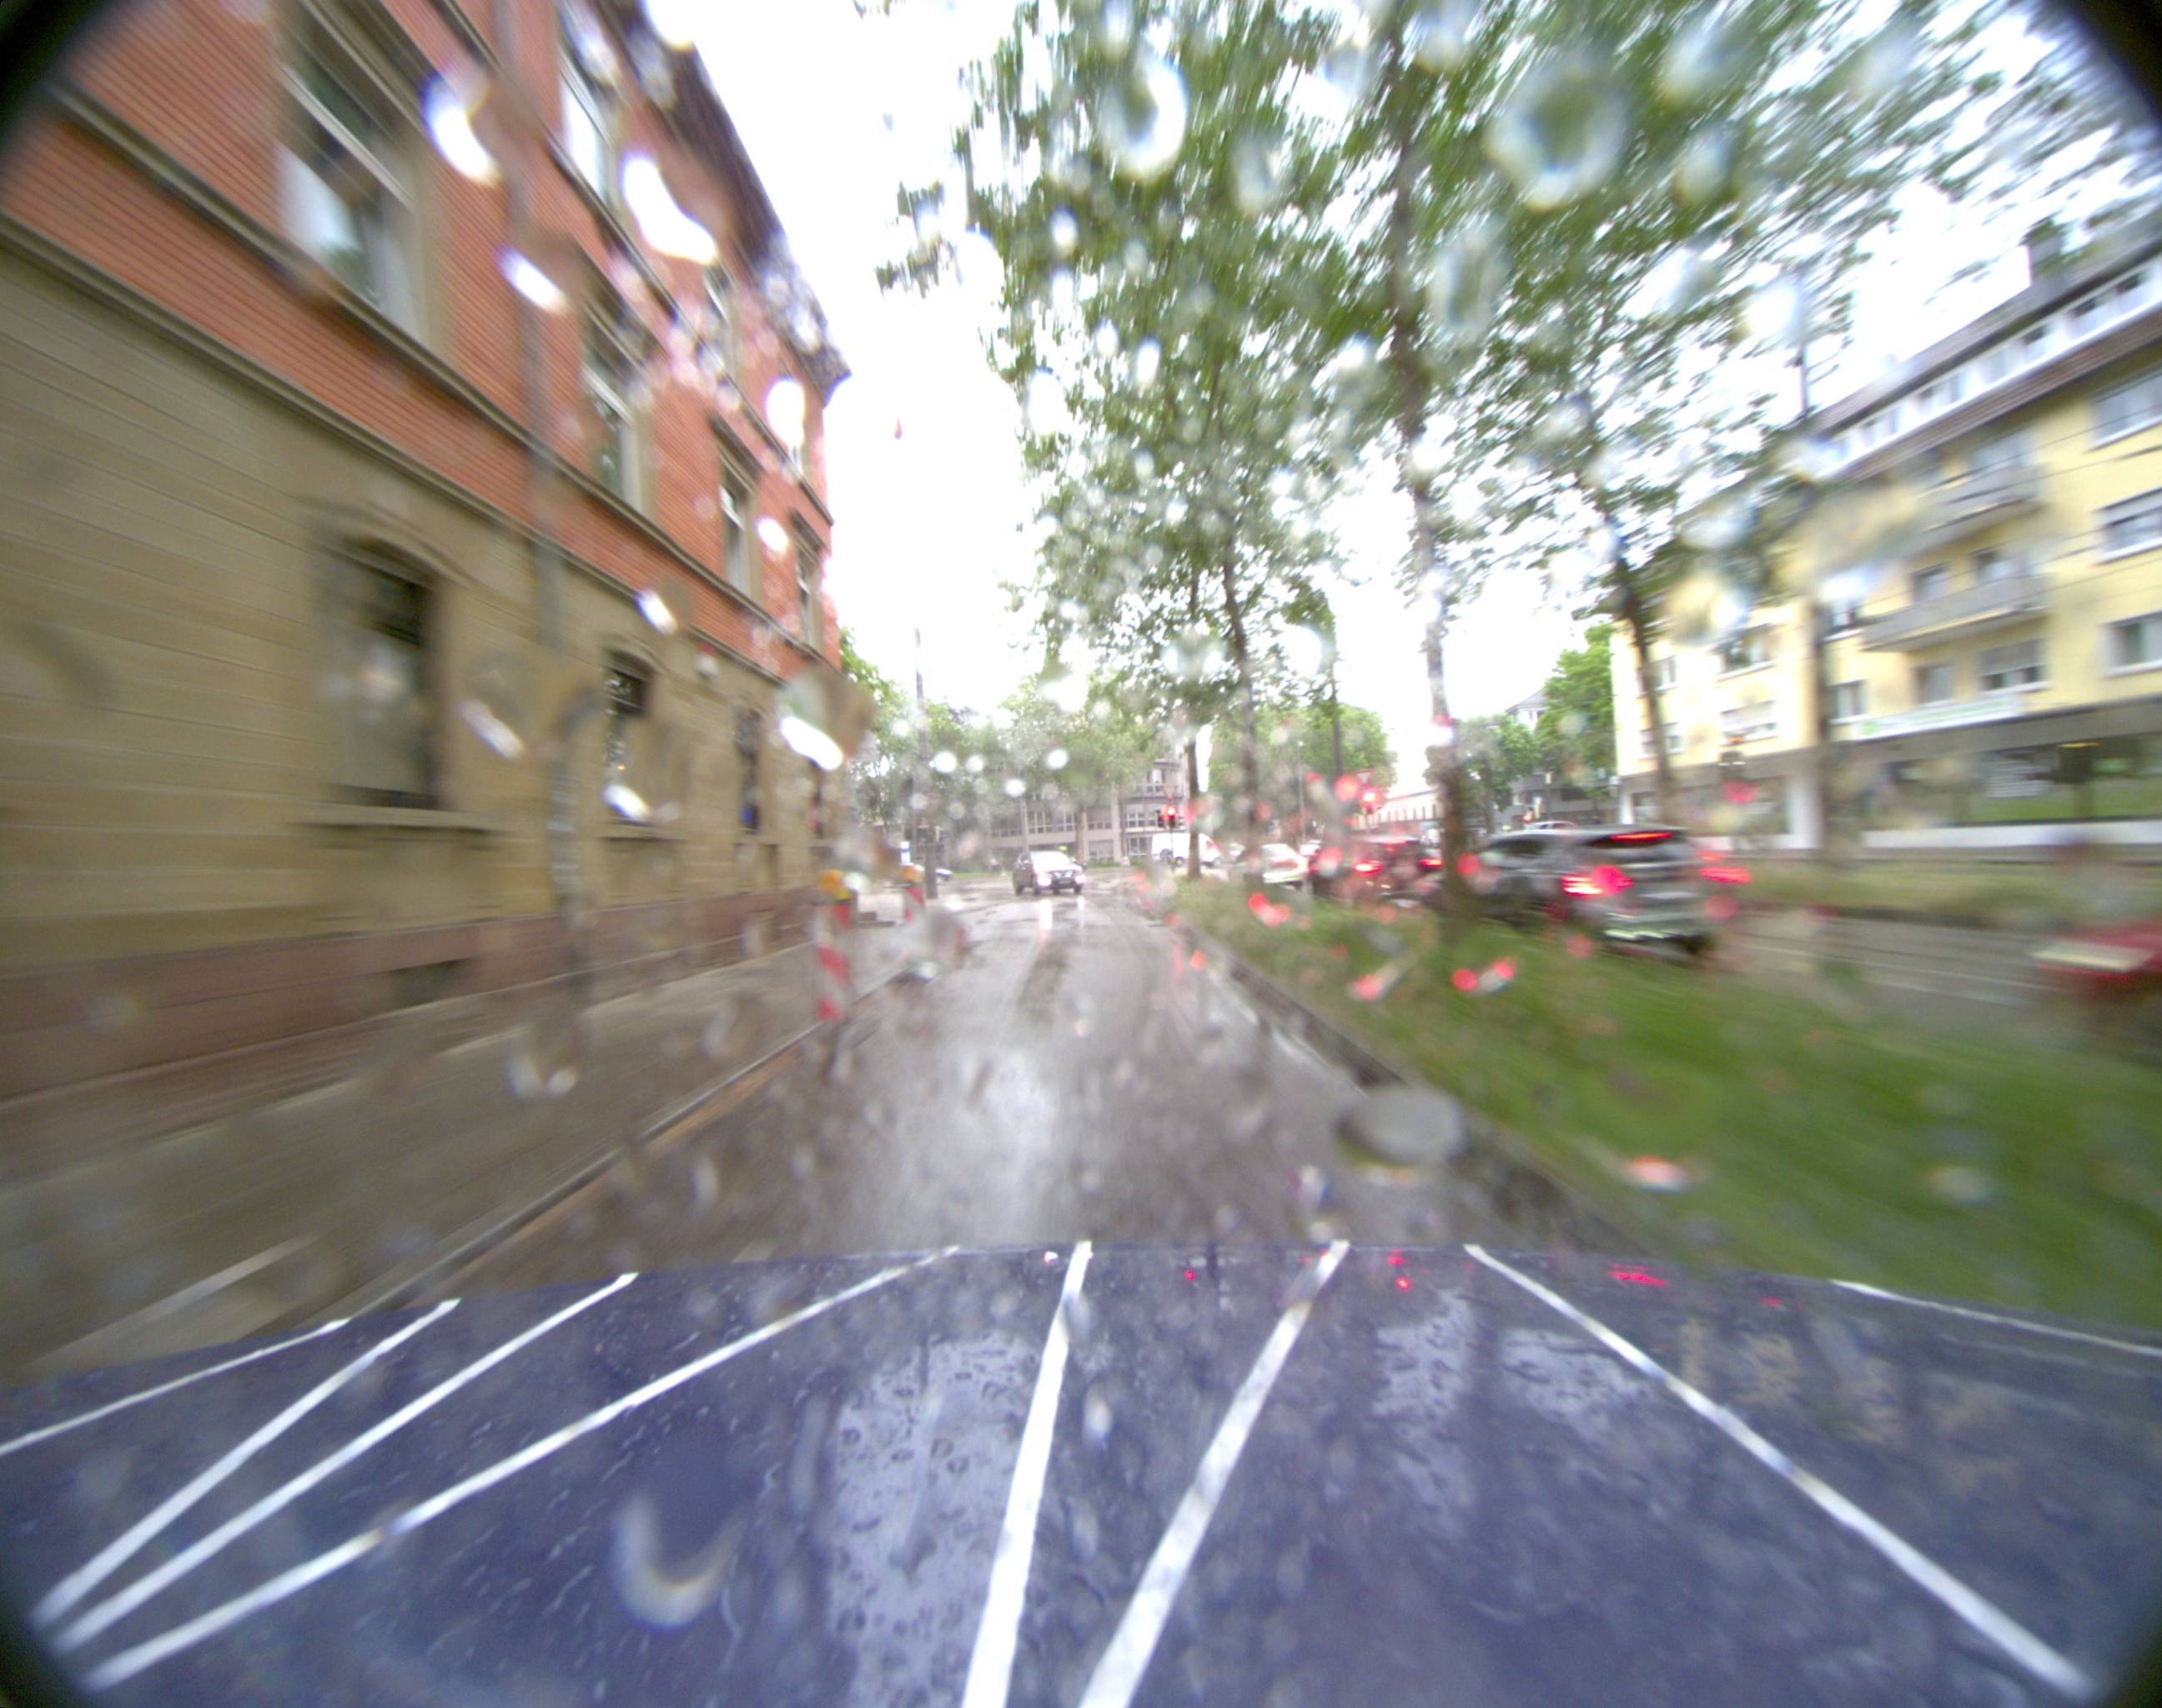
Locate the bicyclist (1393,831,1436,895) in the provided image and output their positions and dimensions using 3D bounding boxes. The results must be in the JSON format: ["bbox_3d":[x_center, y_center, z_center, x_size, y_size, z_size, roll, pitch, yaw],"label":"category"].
[{"bbox_3d":[9.233,0.237,21.067,0.714,1.706,0.889,-3,2,-3],"label":"bicyclist"}]

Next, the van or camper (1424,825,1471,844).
[{"bbox_3d":[43.694,-2.350,90.710,4.648,2.063,2.001,-2,1,10],"label":"van or camper"}]

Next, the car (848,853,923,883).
[{"bbox_3d":[-12.647,0.876,49.316,4.558,1.650,1.785,-4,2,-14],"label":"car"}]

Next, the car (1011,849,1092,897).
[{"bbox_3d":[-1.282,0.691,30.323,1.915,1.637,4.672,-4,2,-18],"label":"car"}]

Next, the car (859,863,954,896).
[{"bbox_3d":[-10.416,1.484,45.544,5.337,1.583,1.947,-4,0,-11],"label":"car"}]

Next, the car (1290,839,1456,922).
[{"bbox_3d":[6.200,0.500,16.801,1.861,1.476,4.640,-4,0,1],"label":"car"}]

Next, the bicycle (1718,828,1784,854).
[{"bbox_3d":[24.583,-0.456,27.938,0.613,0.891,2.046,-3,1,1],"label":"bicycle"}]

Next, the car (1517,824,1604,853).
[{"bbox_3d":[32.113,-1.020,50.956,4.678,1.637,1.913,-3,2,-5],"label":"car"}]

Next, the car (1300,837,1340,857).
[{"bbox_3d":[21.982,-0.635,69.804,1.802,1.578,4.081,-2,1,45],"label":"car"}]

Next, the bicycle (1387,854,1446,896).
[{"bbox_3d":[9.251,0.555,21.031,0.719,1.026,1.815,-3,2,-3],"label":"bicycle"}]

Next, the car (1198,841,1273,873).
[{"bbox_3d":[9.891,0.173,48.895,4.266,1.732,1.975,-4,2,-8],"label":"car"}]

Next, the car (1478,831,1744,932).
[{"bbox_3d":[8.911,0.406,13.291,1.745,1.389,4.130,-4,0,1],"label":"car"}]

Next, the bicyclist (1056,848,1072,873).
[{"bbox_3d":[-1.003,0.380,45.233,0.805,1.462,0.927,-2,2,-7],"label":"bicyclist"}]

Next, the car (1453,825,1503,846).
[{"bbox_3d":[43.101,-2.010,82.564,4.389,2.002,2.069,-3,2,17],"label":"car"}]

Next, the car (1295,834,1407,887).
[{"bbox_3d":[8.796,0.211,25.181,1.879,1.493,4.282,-3,0,-4],"label":"car"}]

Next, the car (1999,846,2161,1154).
[{"bbox_3d":[5.861,0.653,1.995,1.746,1.389,4.233,-4,0,1],"label":"car"}]

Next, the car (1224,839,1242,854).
[{"bbox_3d":[18.838,-0.942,94.000,2.001,1.761,4.003,-2,1,13],"label":"car"}]

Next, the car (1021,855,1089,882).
[{"bbox_3d":[-1.756,0.953,52.134,4.564,1.504,1.782,-5,2,-44],"label":"car"}]

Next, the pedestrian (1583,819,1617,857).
[{"bbox_3d":[23.828,-0.746,34.918,1.015,1.668,0.815,-3,1,13],"label":"pedestrian"}]

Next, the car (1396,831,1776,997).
[{"bbox_3d":[5.710,0.572,9.427,1.745,1.471,4.432,-4,0,1],"label":"car"}]

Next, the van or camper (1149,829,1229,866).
[{"bbox_3d":[8.267,-0.535,58.117,5.979,2.457,2.177,-4,1,-33],"label":"van or camper"}]

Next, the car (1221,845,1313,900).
[{"bbox_3d":[5.716,0.529,23.912,1.739,1.480,4.500,-4,0,0],"label":"car"}]
